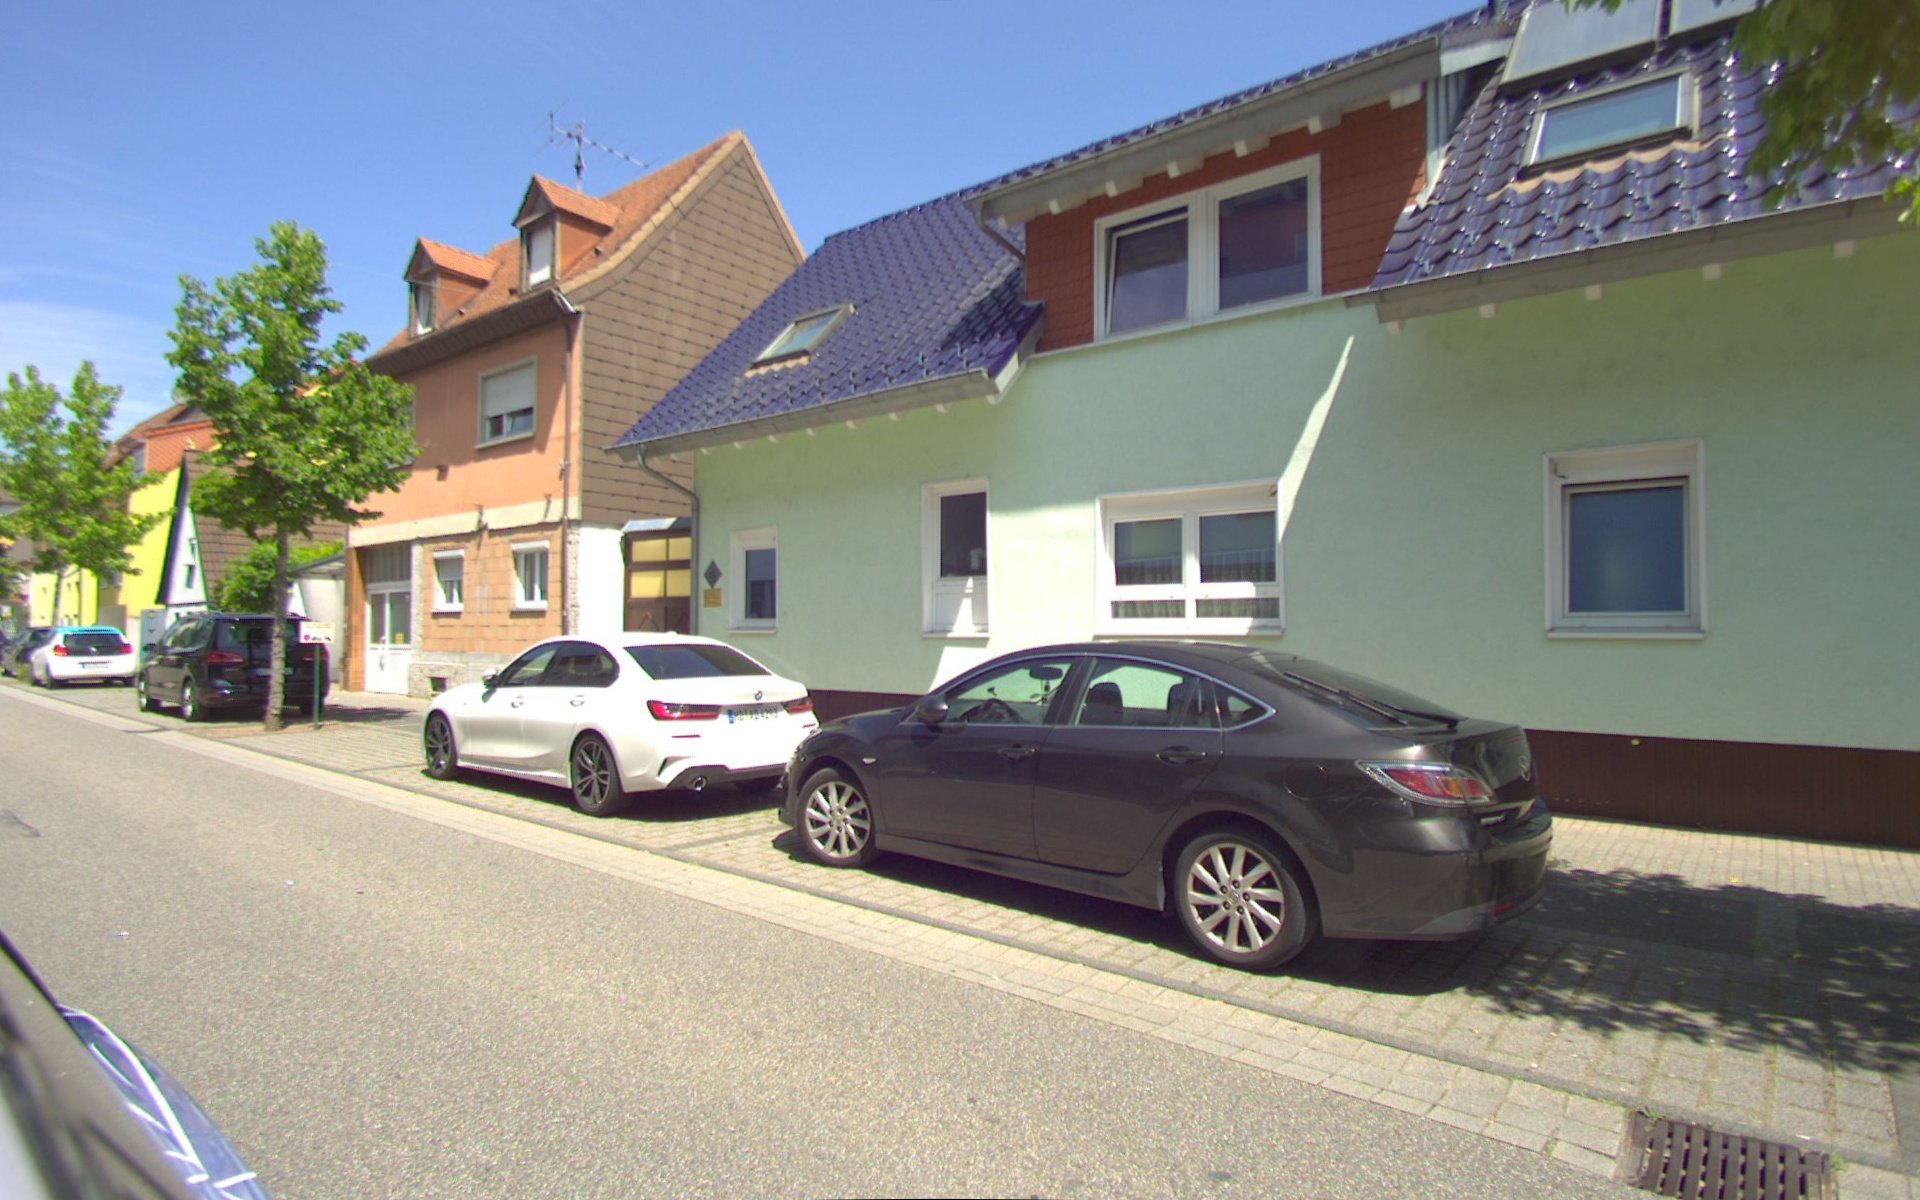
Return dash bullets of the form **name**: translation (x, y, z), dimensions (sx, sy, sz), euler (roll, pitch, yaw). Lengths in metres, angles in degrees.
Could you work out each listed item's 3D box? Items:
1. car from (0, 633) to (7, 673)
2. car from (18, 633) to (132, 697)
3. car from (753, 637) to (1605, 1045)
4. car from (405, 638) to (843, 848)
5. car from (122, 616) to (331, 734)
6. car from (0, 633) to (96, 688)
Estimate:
- **car**: translation (-36.157, 1.919, 36.849), dimensions (4.154, 1.418, 1.639), euler (-2, -3, 40)
- **car**: translation (-21.514, 1.546, 24.568), dimensions (3.407, 1.441, 1.538), euler (-2, -3, 40)
- **car**: translation (0.873, 0.943, 5.783), dimensions (4.536, 1.448, 1.643), euler (-2, -3, 42)
- **car**: translation (-3.232, 1.091, 9.251), dimensions (4.455, 1.448, 1.703), euler (-2, -2, 40)
- **car**: translation (-12.496, 1.187, 17.141), dimensions (4.515, 1.739, 1.757), euler (-2, -3, 40)
- **car**: translation (-26.088, 1.688, 28.761), dimensions (4.095, 1.441, 1.628), euler (-2, -4, 40)
